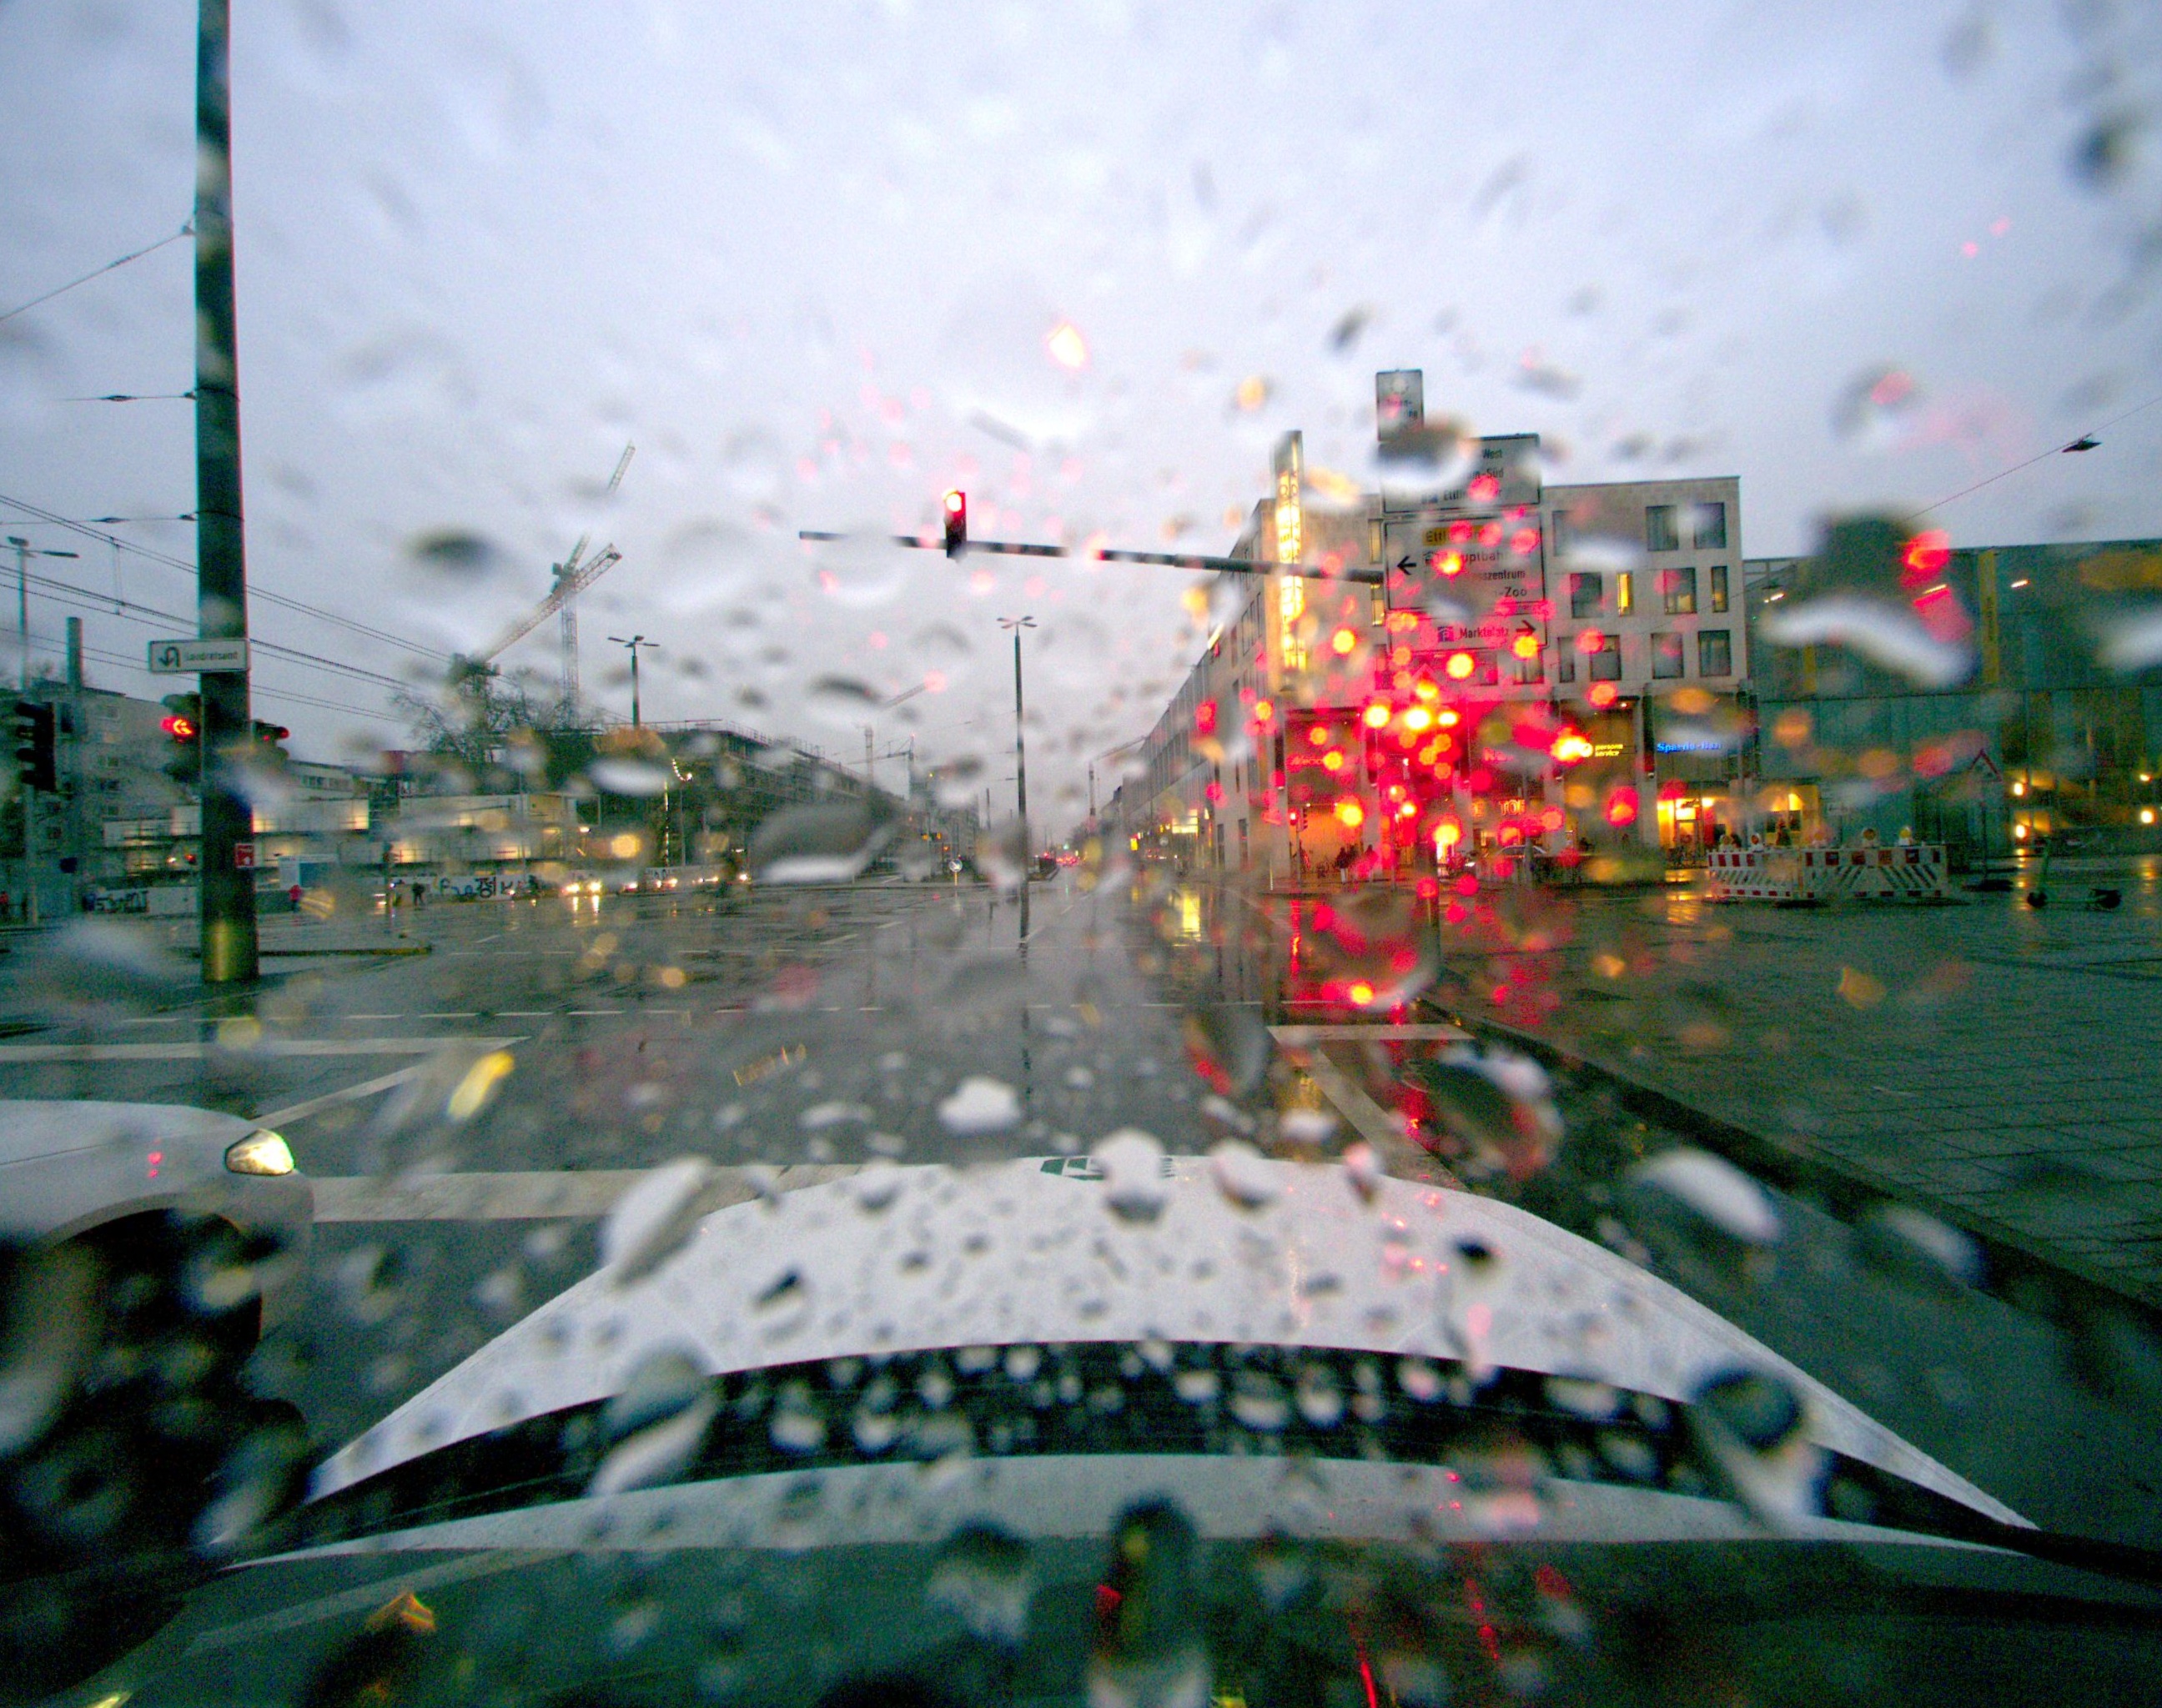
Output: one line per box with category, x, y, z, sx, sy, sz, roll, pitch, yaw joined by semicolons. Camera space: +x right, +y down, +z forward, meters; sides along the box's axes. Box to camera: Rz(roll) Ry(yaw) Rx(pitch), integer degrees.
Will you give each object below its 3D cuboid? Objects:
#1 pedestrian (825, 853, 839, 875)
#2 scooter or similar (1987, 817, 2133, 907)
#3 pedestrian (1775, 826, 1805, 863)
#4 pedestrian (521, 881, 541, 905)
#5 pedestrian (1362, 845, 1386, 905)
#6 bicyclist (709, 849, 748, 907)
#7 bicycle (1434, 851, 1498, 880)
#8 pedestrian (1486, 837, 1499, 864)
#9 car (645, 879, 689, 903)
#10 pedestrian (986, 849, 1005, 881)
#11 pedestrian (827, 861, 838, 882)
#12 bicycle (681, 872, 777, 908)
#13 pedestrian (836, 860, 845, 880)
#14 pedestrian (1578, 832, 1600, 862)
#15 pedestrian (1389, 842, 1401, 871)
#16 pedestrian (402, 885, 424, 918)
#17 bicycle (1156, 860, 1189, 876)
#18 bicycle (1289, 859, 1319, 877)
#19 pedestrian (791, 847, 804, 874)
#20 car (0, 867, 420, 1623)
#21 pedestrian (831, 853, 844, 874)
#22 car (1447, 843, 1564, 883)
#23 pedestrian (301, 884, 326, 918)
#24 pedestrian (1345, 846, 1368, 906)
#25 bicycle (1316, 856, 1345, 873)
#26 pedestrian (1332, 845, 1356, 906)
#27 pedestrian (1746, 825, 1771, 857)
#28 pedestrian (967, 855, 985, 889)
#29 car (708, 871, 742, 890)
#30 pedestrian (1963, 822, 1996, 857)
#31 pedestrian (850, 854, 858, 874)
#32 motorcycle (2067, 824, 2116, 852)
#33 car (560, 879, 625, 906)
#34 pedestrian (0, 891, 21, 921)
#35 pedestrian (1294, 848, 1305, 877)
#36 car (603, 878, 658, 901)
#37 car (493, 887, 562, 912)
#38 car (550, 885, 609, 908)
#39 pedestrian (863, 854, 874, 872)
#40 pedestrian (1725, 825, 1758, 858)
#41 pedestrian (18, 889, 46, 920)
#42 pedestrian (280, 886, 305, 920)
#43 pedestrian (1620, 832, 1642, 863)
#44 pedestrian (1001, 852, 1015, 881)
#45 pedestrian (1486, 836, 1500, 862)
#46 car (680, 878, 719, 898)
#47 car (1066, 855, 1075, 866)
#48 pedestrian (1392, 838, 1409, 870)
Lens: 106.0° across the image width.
pedestrian;-23.724;0.936;77.560;0.939;2.014;1.094;0;-1;-1
scooter or similar;15.693;0.116;13.111;0.590;1.352;1.495;0;0;2
pedestrian;33.484;-0.442;38.478;0.737;1.684;0.783;0;-1;8
pedestrian;-32.098;2.268;47.499;0.721;1.388;0.729;-1;-1;32
pedestrian;12.119;0.875;33.733;0.691;2.448;0.792;0;-1;1
bicyclist;-11.637;0.772;26.870;1.162;1.871;0.739;0;-1;-26
bicycle;19.262;0.580;40.801;2.705;1.359;0.957;-2;-1;-2
pedestrian;26.452;-0.238;52.348;0.613;1.685;0.366;-2;-1;-2
car;-34.776;3.056;68.525;1.862;1.828;3.993;0;-1;-5
pedestrian;-4.920;0.616;46.710;0.826;1.831;0.778;0;-1;-29
pedestrian;-22.793;1.589;74.585;0.762;1.898;0.763;0;-2;1
bicycle;-11.595;1.159;26.883;2.871;1.099;0.739;0;-1;-26
pedestrian;-22.878;1.544;77.452;0.696;1.881;0.553;0;-1;1
pedestrian;29.383;-0.402;47.109;0.890;1.684;0.528;-2;-1;1
pedestrian;18.395;0.125;47.713;0.480;1.663;0.460;-3;-1;32
pedestrian;-45.594;3.248;55.566;0.872;2.165;0.763;0;-1;-7
bicycle;6.913;1.069;61.628;2.434;1.154;0.674;-2;-1;0
bicycle;13.751;0.847;50.250;1.756;1.070;0.526;-1;-1;9
pedestrian;-24.171;0.556;69.471;0.762;2.323;0.763;0;-2;1
car;-3.199;0.813;0.340;2.010;1.487;4.561;-2;0;1
pedestrian;-23.743;0.950;79.288;0.939;2.014;1.094;0;-1;-1
car;17.923;0.394;34.536;3.970;1.618;2.001;0;-1;3
pedestrian;-46.535;2.860;49.360;0.781;2.014;0.748;0;-1;6
pedestrian;11.426;0.911;33.768;0.687;2.441;0.758;0;-1;1
bicycle;15.497;0.657;50.602;1.642;1.070;0.524;0;-1;-2
pedestrian;10.712;0.881;33.161;0.712;2.441;0.758;0;-1;1
pedestrian;37.287;-0.696;44.817;0.782;1.739;0.779;-3;-1;17
pedestrian;-6.131;1.047;47.688;0.776;2.014;0.732;-1;-1;44
car;-35.474;2.645;81.247;1.991;1.790;3.992;0;-1;-6
pedestrian;43.995;-0.694;39.898;0.737;1.684;0.783;0;-1;8
pedestrian;-22.733;1.016;81.561;0.569;1.968;0.664;1;-1;-4
motorcycle;48.309;-0.755;38.931;1.482;1.352;0.595;0;0;5
car;-33.674;2.616;56.282;1.986;1.657;4.001;-2;0;2
pedestrian;-66.670;3.225;50.563;0.786;1.776;0.726;-2;-1;8
pedestrian;13.373;0.508;49.749;0.596;1.745;0.526;-1;-1;10
car;-34.265;2.642;62.097;2.074;1.530;4.603;-2;0;-7
car;-38.603;3.156;56.920;1.986;1.530;4.001;-2;0;2
car;-38.978;3.297;63.411;1.986;1.530;4.001;-2;0;2
pedestrian;-24.051;1.057;92.220;0.939;2.014;1.094;0;-1;-1
pedestrian;34.008;-0.641;41.953;1.026;1.684;0.824;0;-1;1
pedestrian;-66.541;3.205;51.657;0.788;1.902;0.717;-2;-1;0
pedestrian;-47.139;2.911;48.710;0.861;2.014;0.624;0;-1;-6
pedestrian;30.652;-0.365;45.417;0.737;1.684;0.783;0;-1;8
pedestrian;-4.310;0.737;48.257;0.605;1.686;0.581;-1;-1;44
pedestrian;28.044;-0.363;55.428;0.728;1.718;0.743;-3;-1;29
car;-35.404;3.134;75.686;1.991;1.790;3.992;0;-1;-6
car;-1.994;1.185;158.132;1.572;2.013;3.170;-2;0;0
pedestrian;20.565;-0.026;52.481;0.841;2.013;0.700;-2;0;10
